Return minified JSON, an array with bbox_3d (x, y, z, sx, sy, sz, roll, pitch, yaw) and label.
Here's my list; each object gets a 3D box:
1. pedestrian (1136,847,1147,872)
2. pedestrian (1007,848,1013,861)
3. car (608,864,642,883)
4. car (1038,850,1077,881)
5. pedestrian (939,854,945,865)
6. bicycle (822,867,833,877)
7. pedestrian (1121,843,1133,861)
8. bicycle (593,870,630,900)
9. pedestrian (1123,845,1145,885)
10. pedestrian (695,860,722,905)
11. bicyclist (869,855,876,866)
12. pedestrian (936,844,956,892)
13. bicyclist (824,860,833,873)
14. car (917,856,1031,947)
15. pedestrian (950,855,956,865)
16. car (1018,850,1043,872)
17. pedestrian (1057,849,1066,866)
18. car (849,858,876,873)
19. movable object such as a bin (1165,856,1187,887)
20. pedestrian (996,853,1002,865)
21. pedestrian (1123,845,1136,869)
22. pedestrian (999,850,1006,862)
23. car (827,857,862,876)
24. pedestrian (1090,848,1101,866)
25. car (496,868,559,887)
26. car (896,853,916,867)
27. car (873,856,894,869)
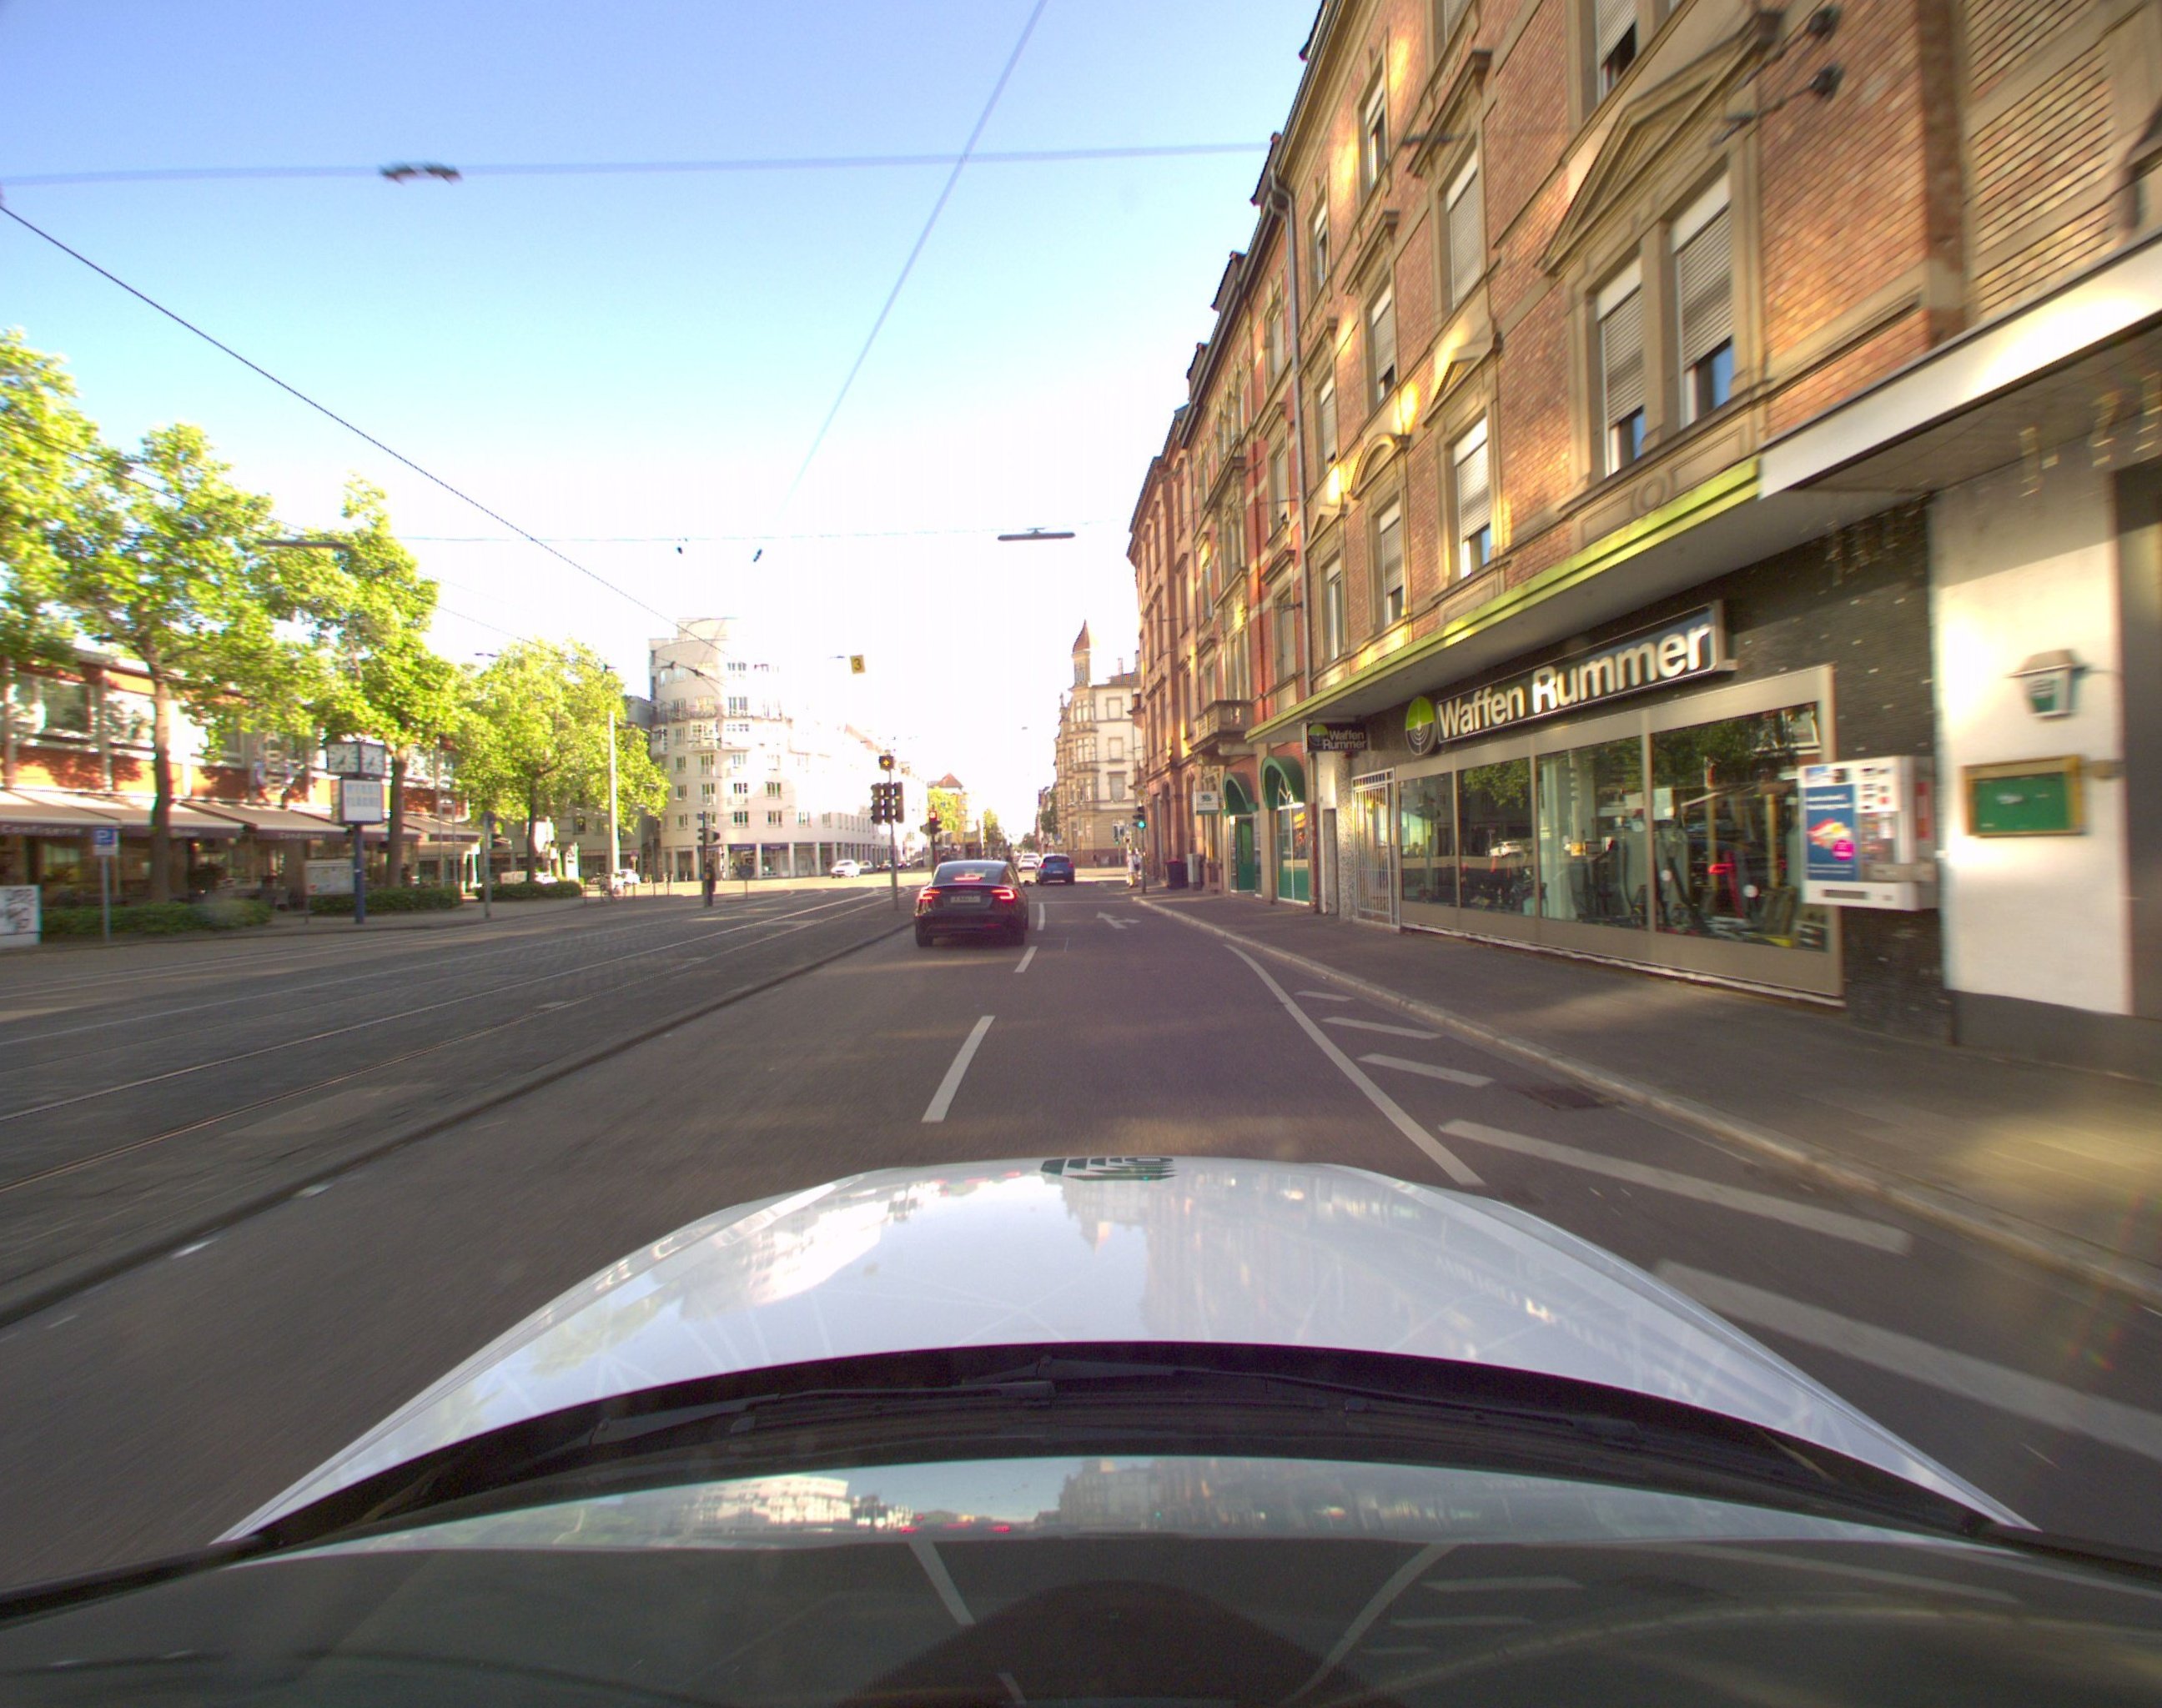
[{"bbox_3d":[4.283,0.395,57.937,0.638,1.745,0.708,-1,-1,17],"label":"pedestrian"},{"bbox_3d":[-9.613,0.088,110.110,0.634,1.698,0.934,0,-1,3],"label":"pedestrian"},{"bbox_3d":[-40.517,1.714,72.493,1.802,1.402,4.078,-2,2,-18],"label":"car"},{"bbox_3d":[-1.184,0.523,39.301,1.777,1.451,3.649,0,0,-4],"label":"car"},{"bbox_3d":[-19.930,0.745,116.824,0.730,1.527,0.741,-1,1,-5],"label":"pedestrian"},{"bbox_3d":[-24.740,1.786,79.600,0.592,0.972,1.815,-2,-1,-3],"label":"bicycle"},{"bbox_3d":[3.978,-0.146,70.539,0.626,1.537,0.947,-3,-1,28],"label":"pedestrian"},{"bbox_3d":[-20.382,1.324,35.394,0.496,1.186,2.231,-2,0,-6],"label":"bicycle"},{"bbox_3d":[2.204,0.456,33.814,0.682,1.607,0.728,-2,0,-13],"label":"pedestrian"},{"bbox_3d":[-13.042,0.984,28.561,0.499,1.517,0.858,-4,0,-4],"label":"pedestrian"},{"bbox_3d":[-24.578,0.728,95.885,0.588,1.285,0.989,-2,-1,-7],"label":"bicyclist"},{"bbox_3d":[-5.124,0.509,30.989,0.557,1.763,0.894,-4,0,-4],"label":"pedestrian"},{"bbox_3d":[-24.730,1.228,79.702,0.587,1.285,0.925,-2,-1,-4],"label":"bicyclist"},{"bbox_3d":[-1.863,0.767,15.143,1.807,1.424,4.147,0,0,-4],"label":"car"},{"bbox_3d":[-19.669,0.932,125.167,0.730,1.559,0.741,-1,1,-5],"label":"pedestrian"},{"bbox_3d":[-4.091,0.581,66.345,1.990,1.743,3.994,0,-1,-4],"label":"car"},{"bbox_3d":[-2.099,0.371,86.634,0.779,1.749,1.091,-1,2,-7],"label":"pedestrian"},{"bbox_3d":[-23.050,1.211,86.153,1.991,1.451,4.641,-2,0,-6],"label":"car"},{"bbox_3d":[3.543,0.652,30.525,0.661,1.072,0.590,-5,0,-2],"label":"movable object such as a bin"},{"bbox_3d":[-11.560,0.722,114.468,0.579,1.562,0.473,-2,0,31],"label":"pedestrian"},{"bbox_3d":[3.479,0.232,58.092,0.695,1.655,0.635,-3,-1,18],"label":"pedestrian"},{"bbox_3d":[-11.053,0.294,115.000,0.710,1.777,0.569,-2,0,31],"label":"pedestrian"},{"bbox_3d":[-19.720,1.027,68.162,1.991,1.451,4.493,-2,0,-6],"label":"car"},{"bbox_3d":[1.394,0.279,77.793,0.918,1.632,0.943,-2,-1,4],"label":"pedestrian"},{"bbox_3d":[-46.865,1.960,69.010,3.983,1.402,1.803,-1,2,-1],"label":"car"},{"bbox_3d":[-25.306,0.856,117.917,2.223,1.911,4.601,-2,0,-5],"label":"car"},{"bbox_3d":[-25.030,1.094,103.240,1.991,1.596,3.991,-2,-1,-6],"label":"car"}]
